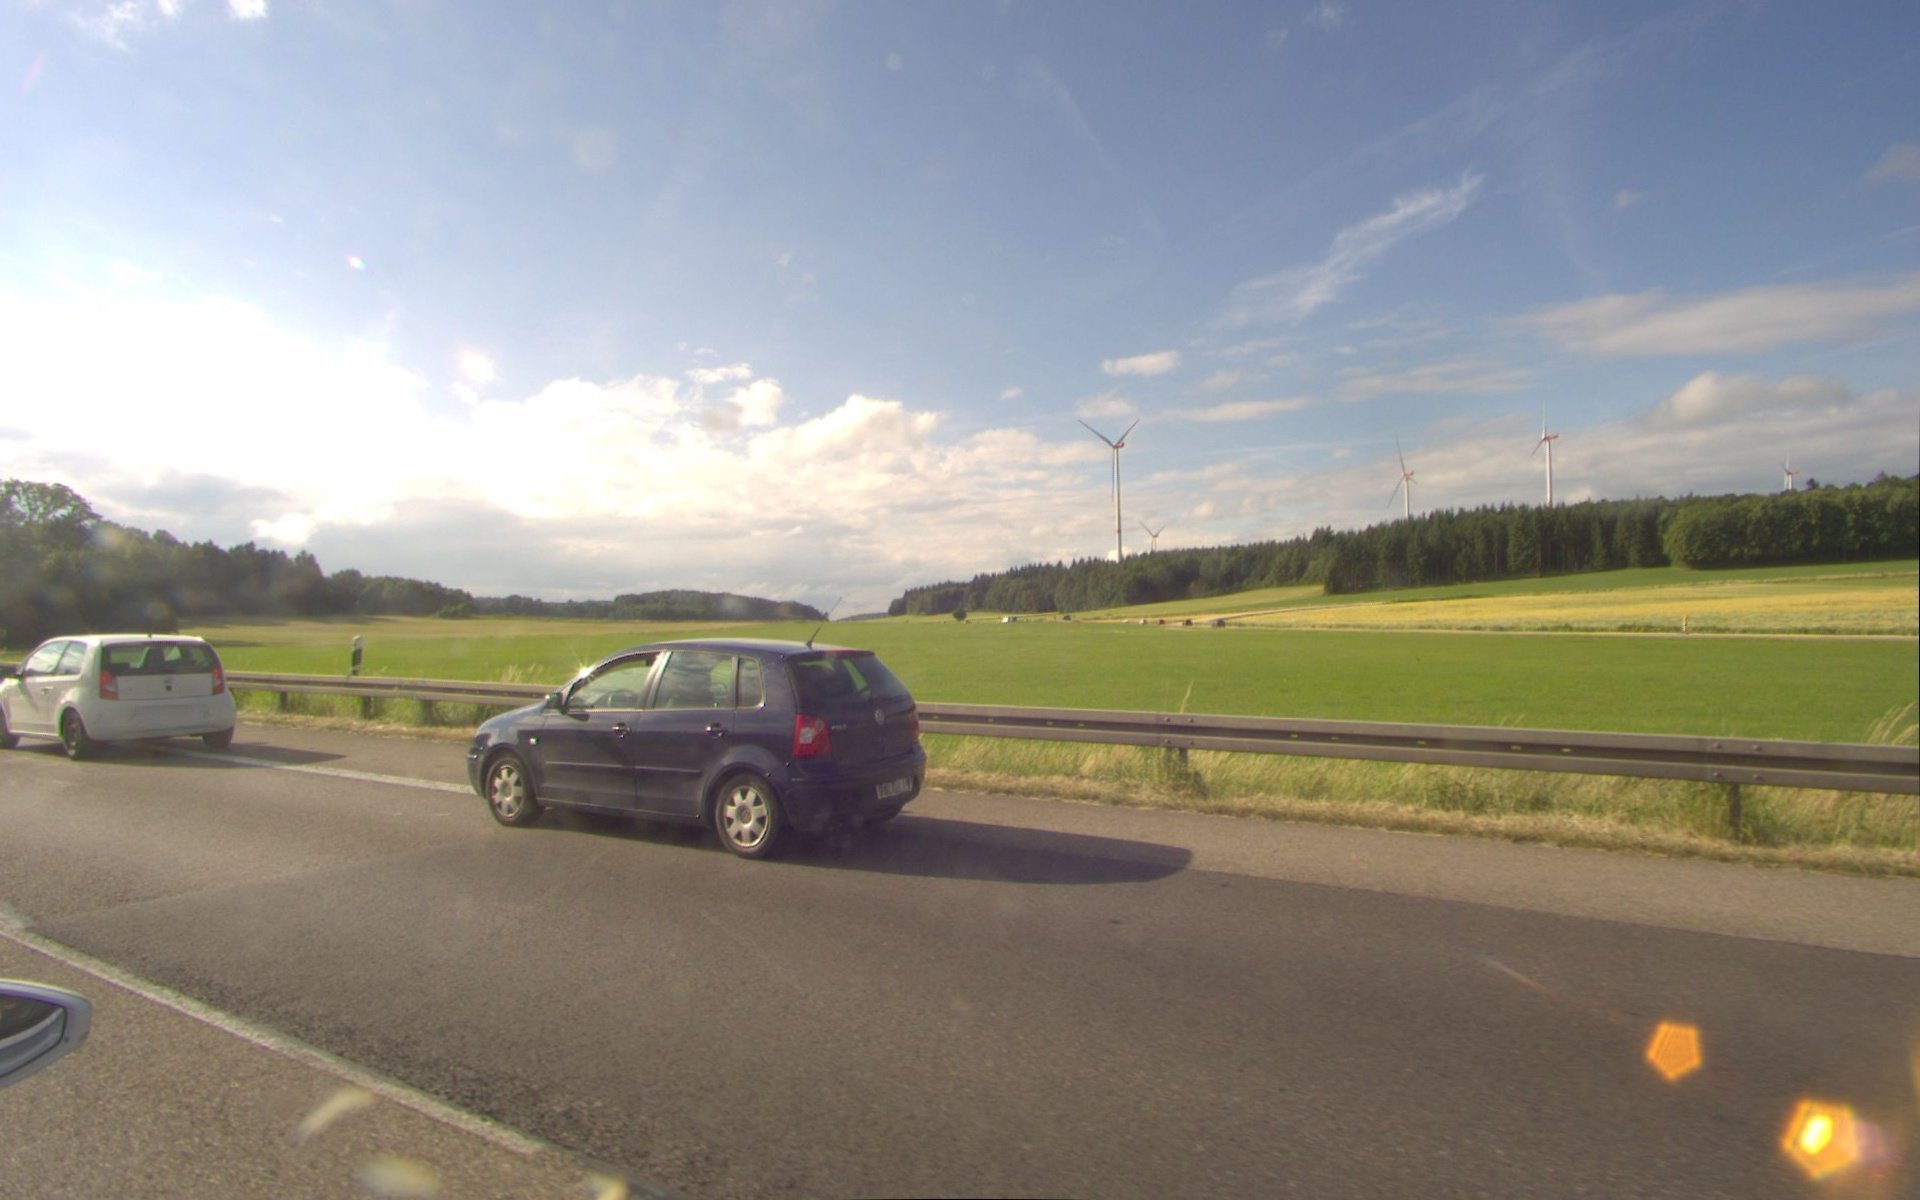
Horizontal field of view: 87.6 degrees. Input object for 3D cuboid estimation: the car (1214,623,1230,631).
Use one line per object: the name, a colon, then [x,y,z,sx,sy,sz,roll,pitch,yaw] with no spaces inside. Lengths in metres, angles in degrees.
car: [50.940,5.222,194.819,1.803,1.505,4.221,0,-2,-6]

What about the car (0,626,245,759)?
car: [-10.984,1.105,12.991,3.327,1.514,1.547,0,-1,30]

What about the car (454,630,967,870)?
car: [-1.979,0.984,7.773,3.717,1.464,1.709,-1,-2,29]
